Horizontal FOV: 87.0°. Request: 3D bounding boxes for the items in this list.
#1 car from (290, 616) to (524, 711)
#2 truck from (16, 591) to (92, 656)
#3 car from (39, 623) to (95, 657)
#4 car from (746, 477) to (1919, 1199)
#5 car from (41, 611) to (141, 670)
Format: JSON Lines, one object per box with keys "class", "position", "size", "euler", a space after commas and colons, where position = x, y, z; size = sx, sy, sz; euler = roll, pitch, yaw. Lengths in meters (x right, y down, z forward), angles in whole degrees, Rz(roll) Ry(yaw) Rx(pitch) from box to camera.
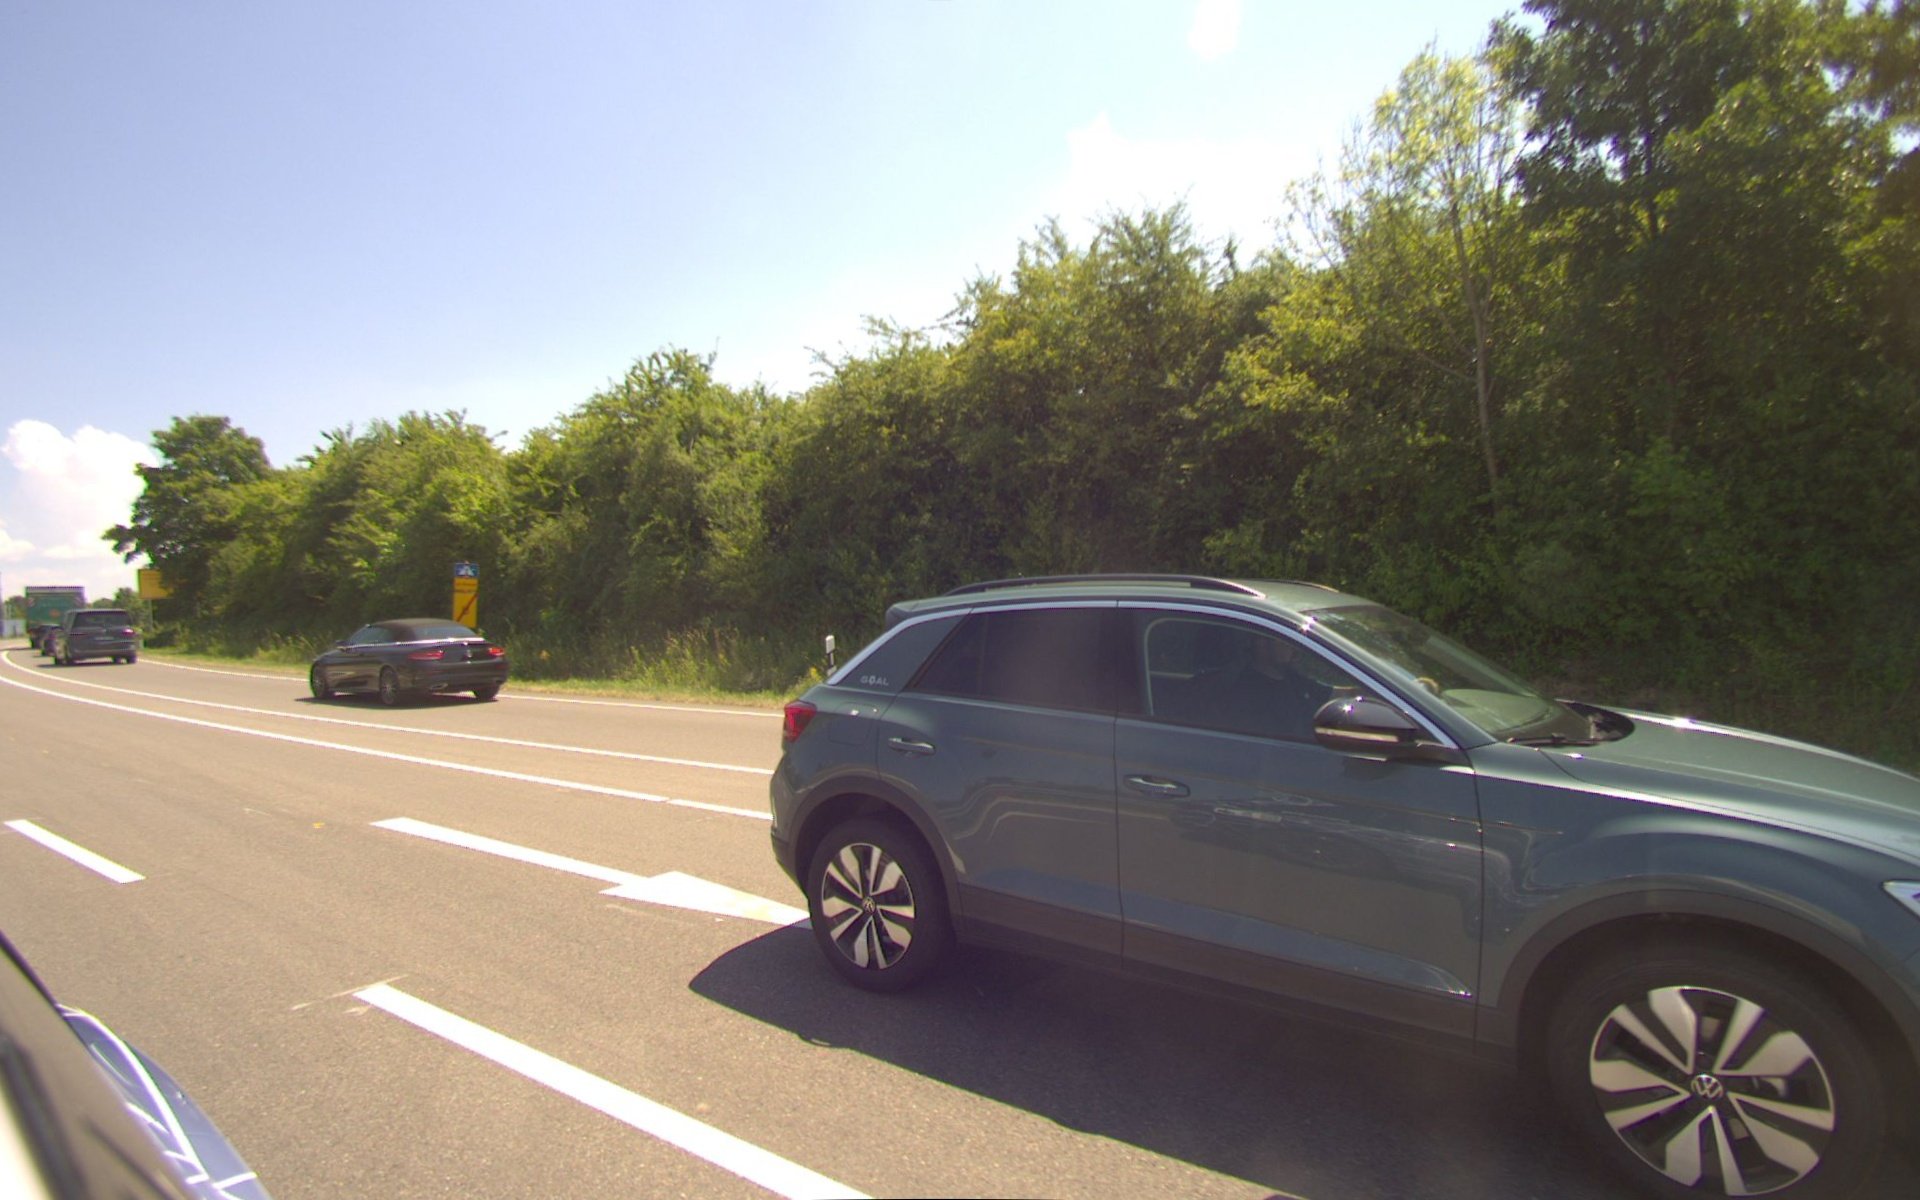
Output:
{"class": "car", "position": [-9.798, 1.047, 17.796], "size": [4.633, 1.453, 1.801], "euler": [-2, -1, 36]}
{"class": "truck", "position": [-54.687, 1.401, 61.296], "size": [2.832, 3.601, 9.449], "euler": [-1, -1, -38]}
{"class": "car", "position": [-41.297, 1.829, 46.762], "size": [1.855, 1.453, 4.334], "euler": [-1, -1, -43]}
{"class": "car", "position": [1.411, 0.586, 3.555], "size": [4.384, 1.598, 1.817], "euler": [-2, -1, 38]}
{"class": "car", "position": [-30.773, 1.413, 35.782], "size": [5.101, 1.909, 1.973], "euler": [-2, -1, 41]}
